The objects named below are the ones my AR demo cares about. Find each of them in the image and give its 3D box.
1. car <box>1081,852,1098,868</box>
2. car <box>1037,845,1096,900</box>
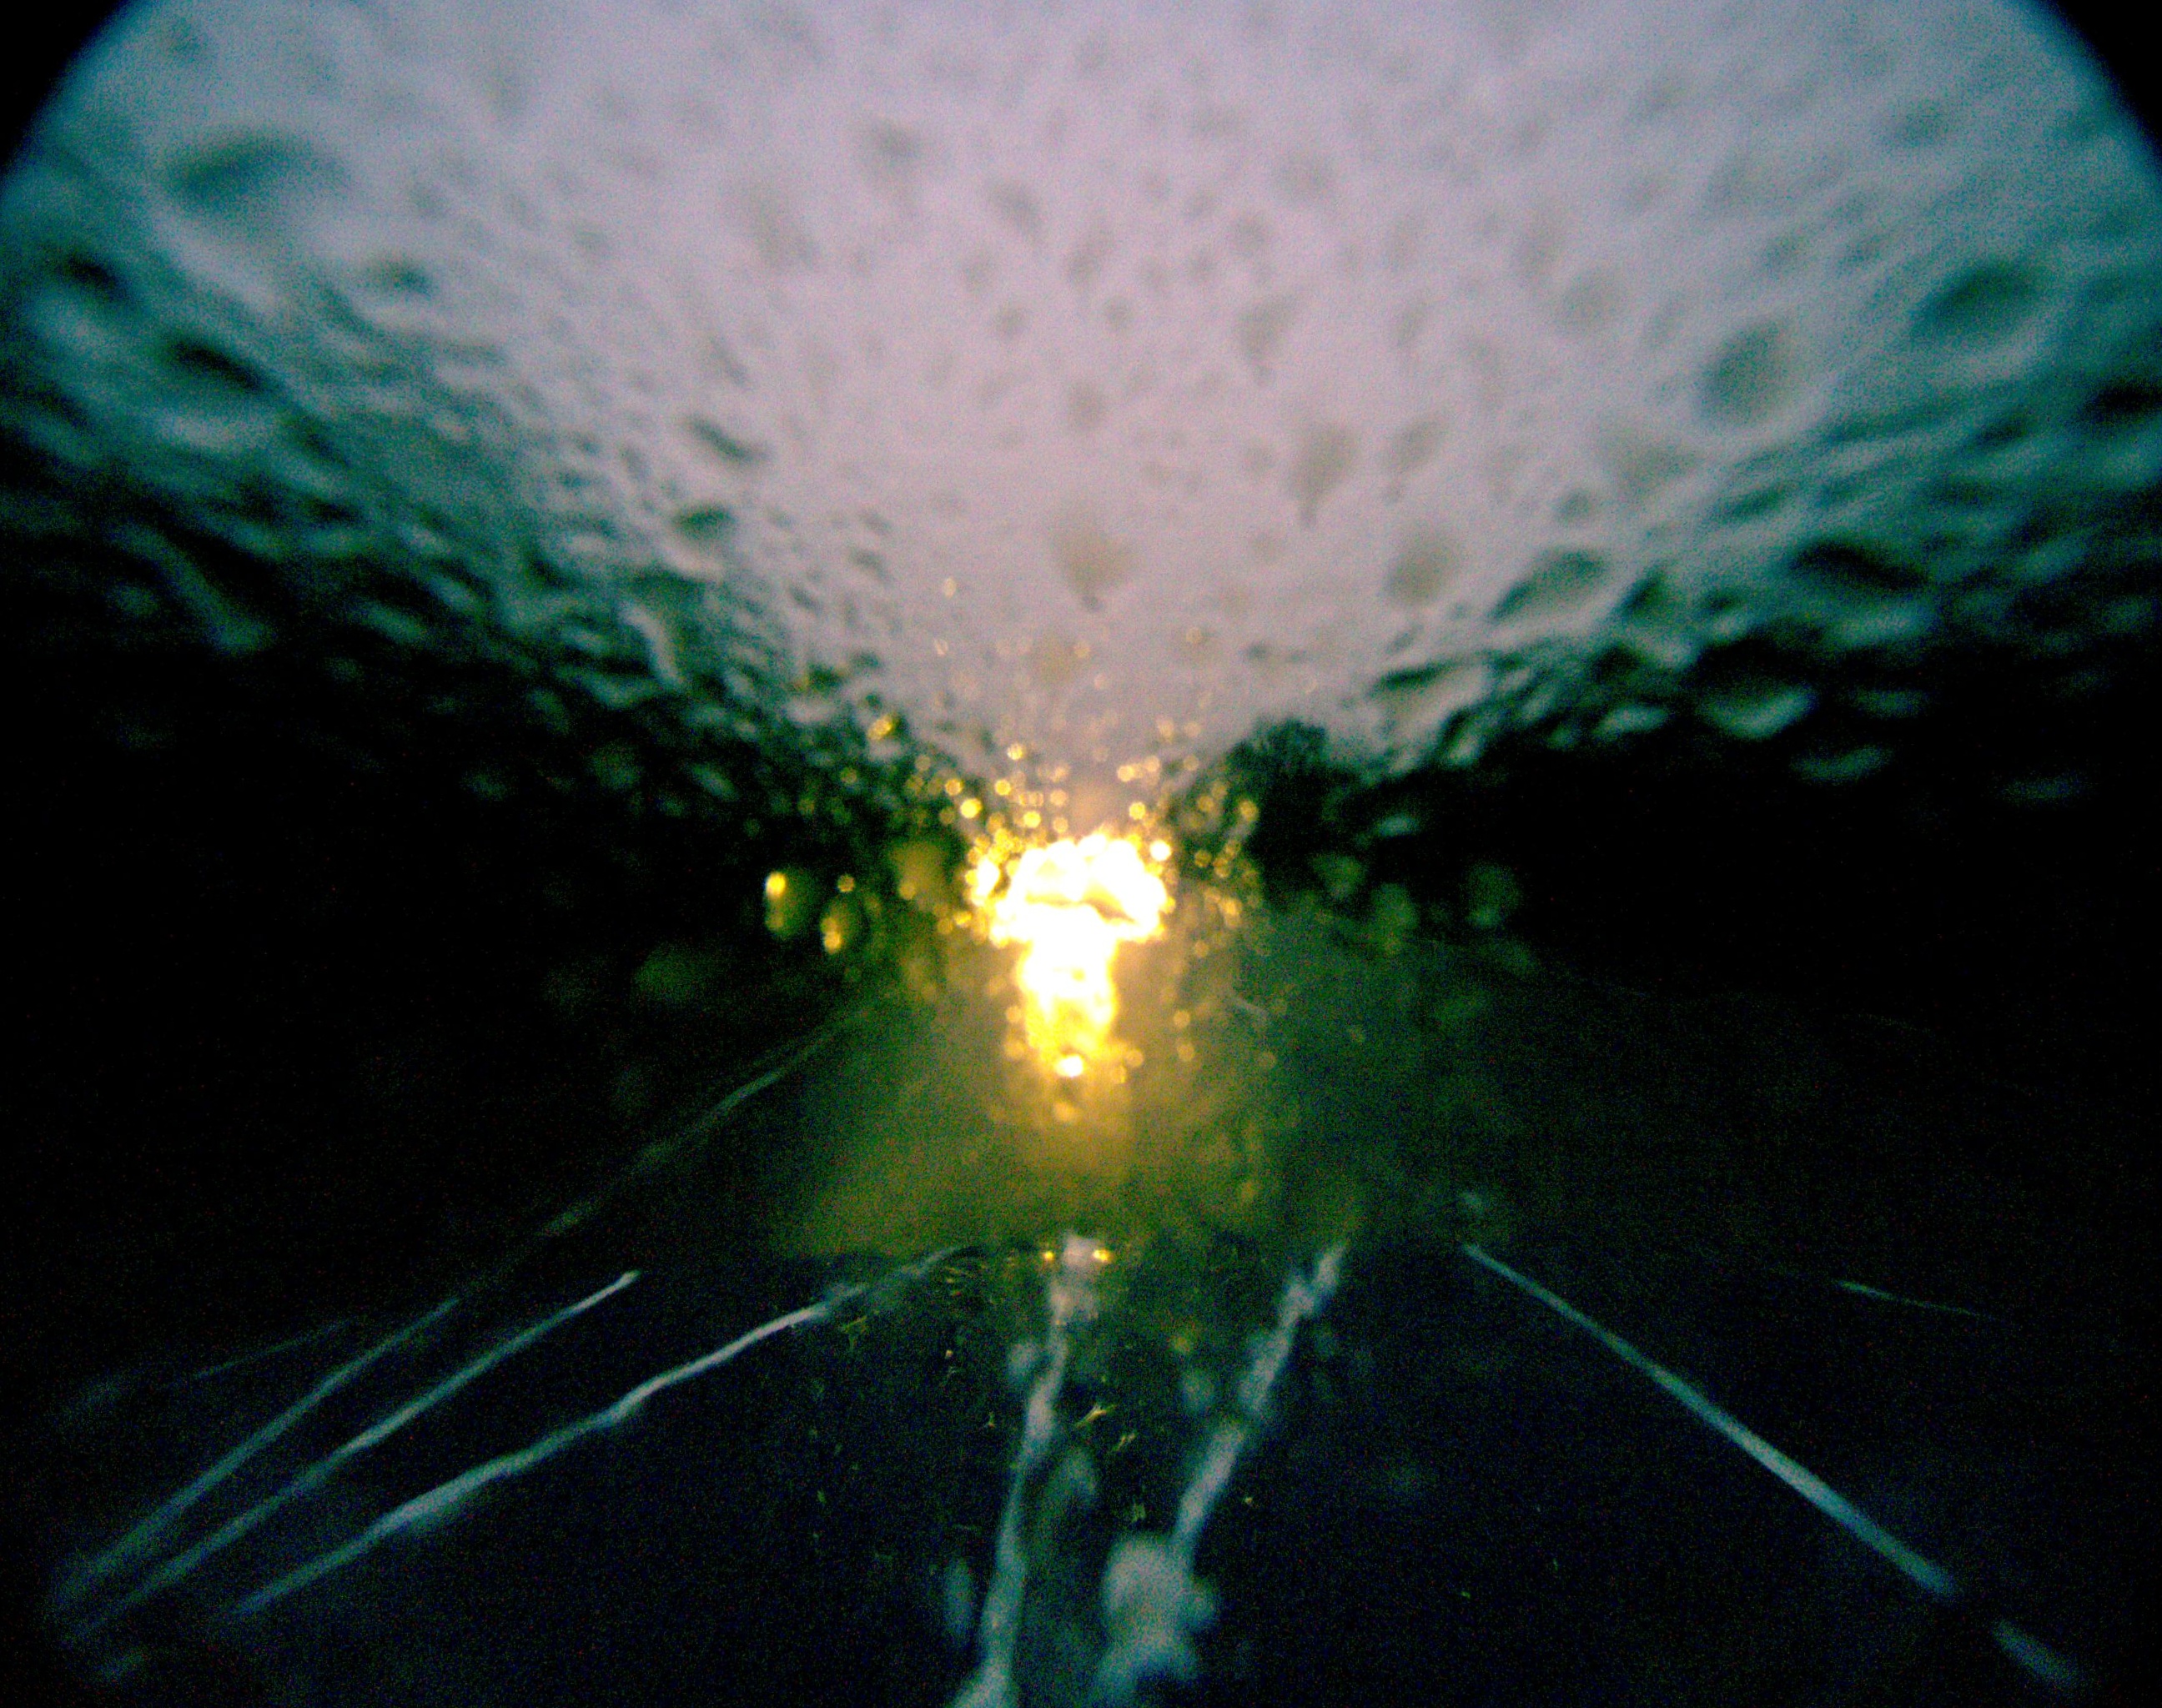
[{"bbox_3d":[1.055,0.670,91.363,1.998,1.752,4.371,-2,1,1],"label":"car"},{"bbox_3d":[-0.431,0.576,26.225,1.572,1.701,4.001,-2,1,5],"label":"car"}]
